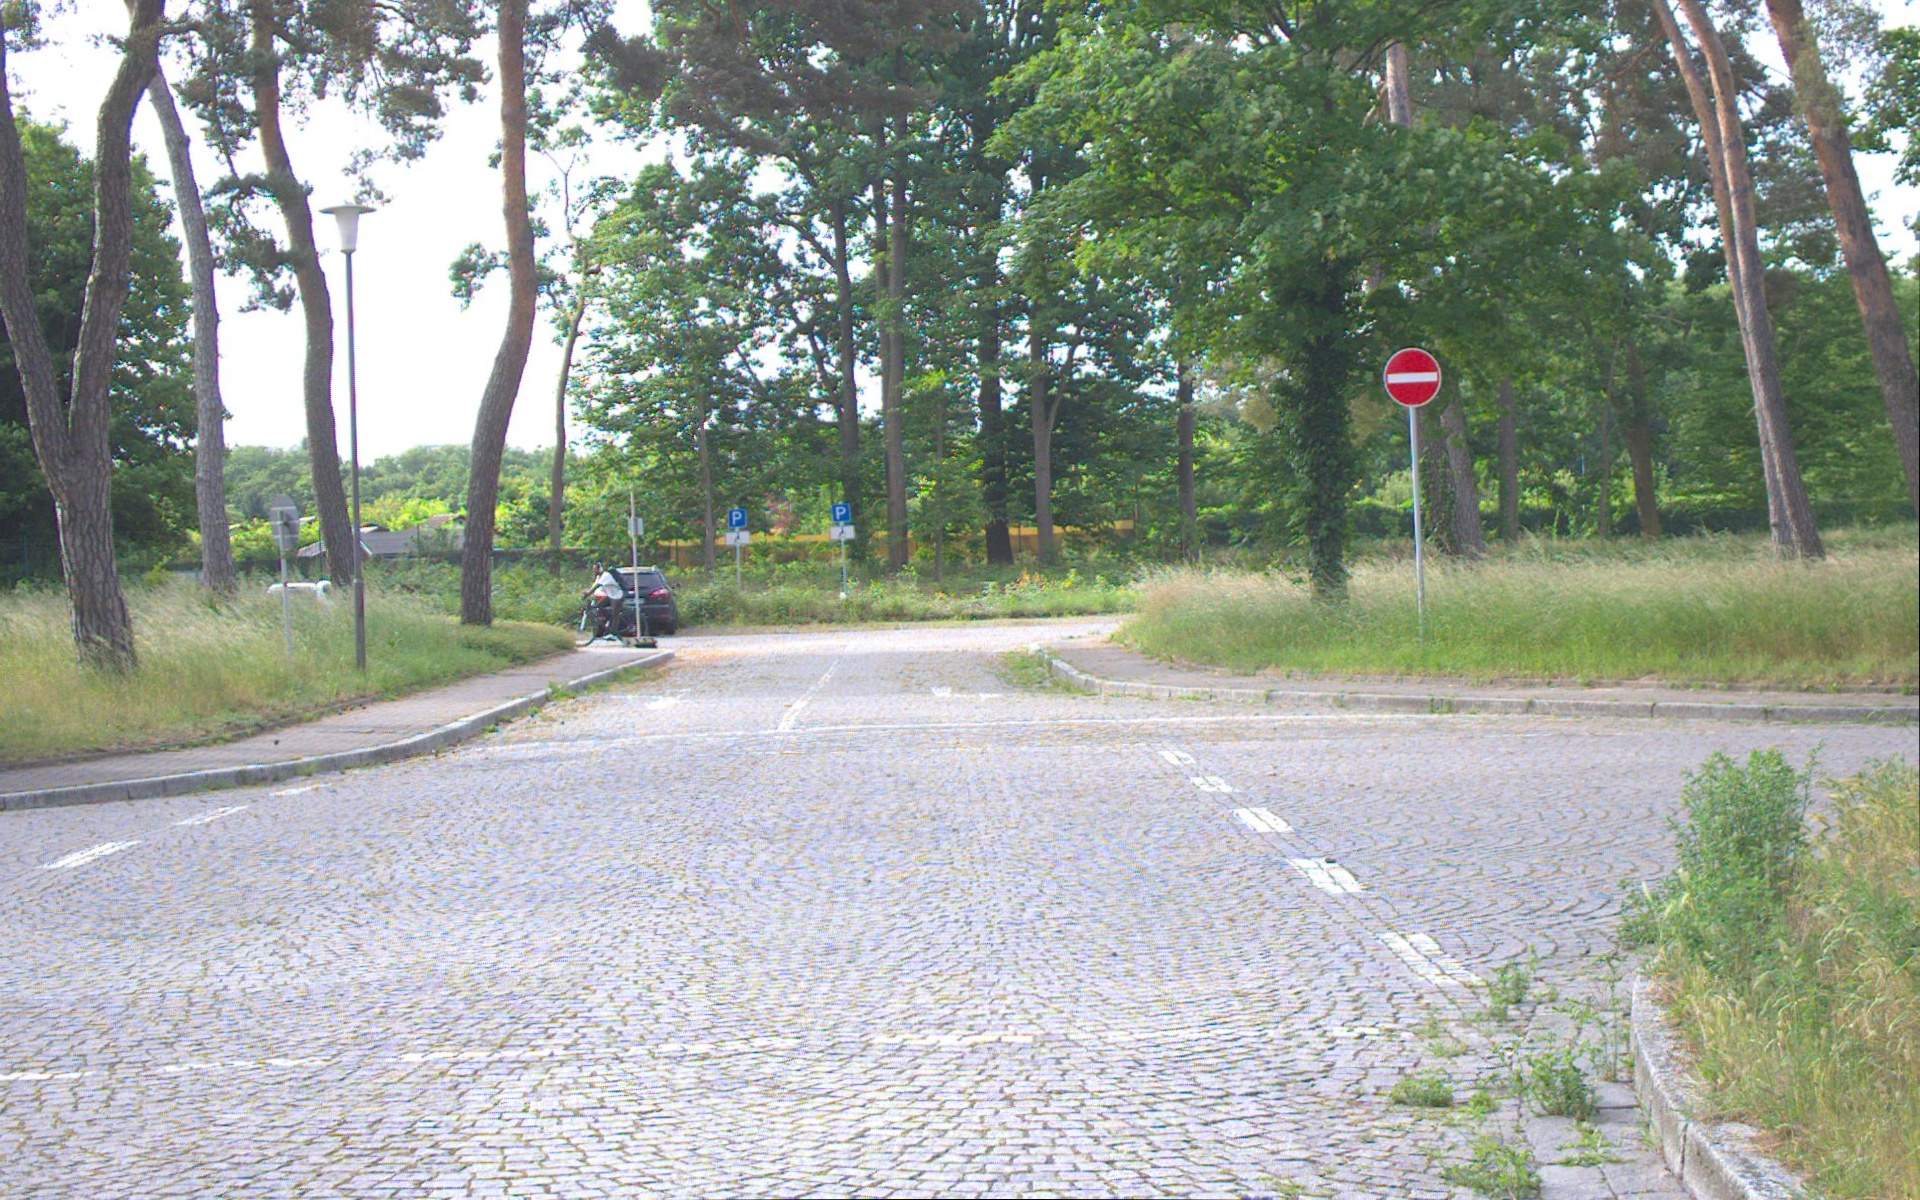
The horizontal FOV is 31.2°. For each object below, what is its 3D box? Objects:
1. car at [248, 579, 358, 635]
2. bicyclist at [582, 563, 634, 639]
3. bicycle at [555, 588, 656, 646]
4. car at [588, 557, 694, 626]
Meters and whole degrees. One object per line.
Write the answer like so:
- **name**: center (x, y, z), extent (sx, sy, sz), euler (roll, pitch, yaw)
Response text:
- **car**: center (-14.920, 0.136, 78.266), extent (1.689, 1.152, 4.000), euler (-2, 1, 0)
- **bicyclist**: center (-7.165, 0.012, 70.042), extent (0.974, 1.505, 0.807), euler (-2, 1, -4)
- **bicycle**: center (-7.215, 0.339, 70.030), extent (1.986, 1.091, 0.810), euler (-2, 1, -4)
- **car**: center (-7.124, -0.210, 77.118), extent (1.993, 1.503, 4.000), euler (0, 1, 0)
